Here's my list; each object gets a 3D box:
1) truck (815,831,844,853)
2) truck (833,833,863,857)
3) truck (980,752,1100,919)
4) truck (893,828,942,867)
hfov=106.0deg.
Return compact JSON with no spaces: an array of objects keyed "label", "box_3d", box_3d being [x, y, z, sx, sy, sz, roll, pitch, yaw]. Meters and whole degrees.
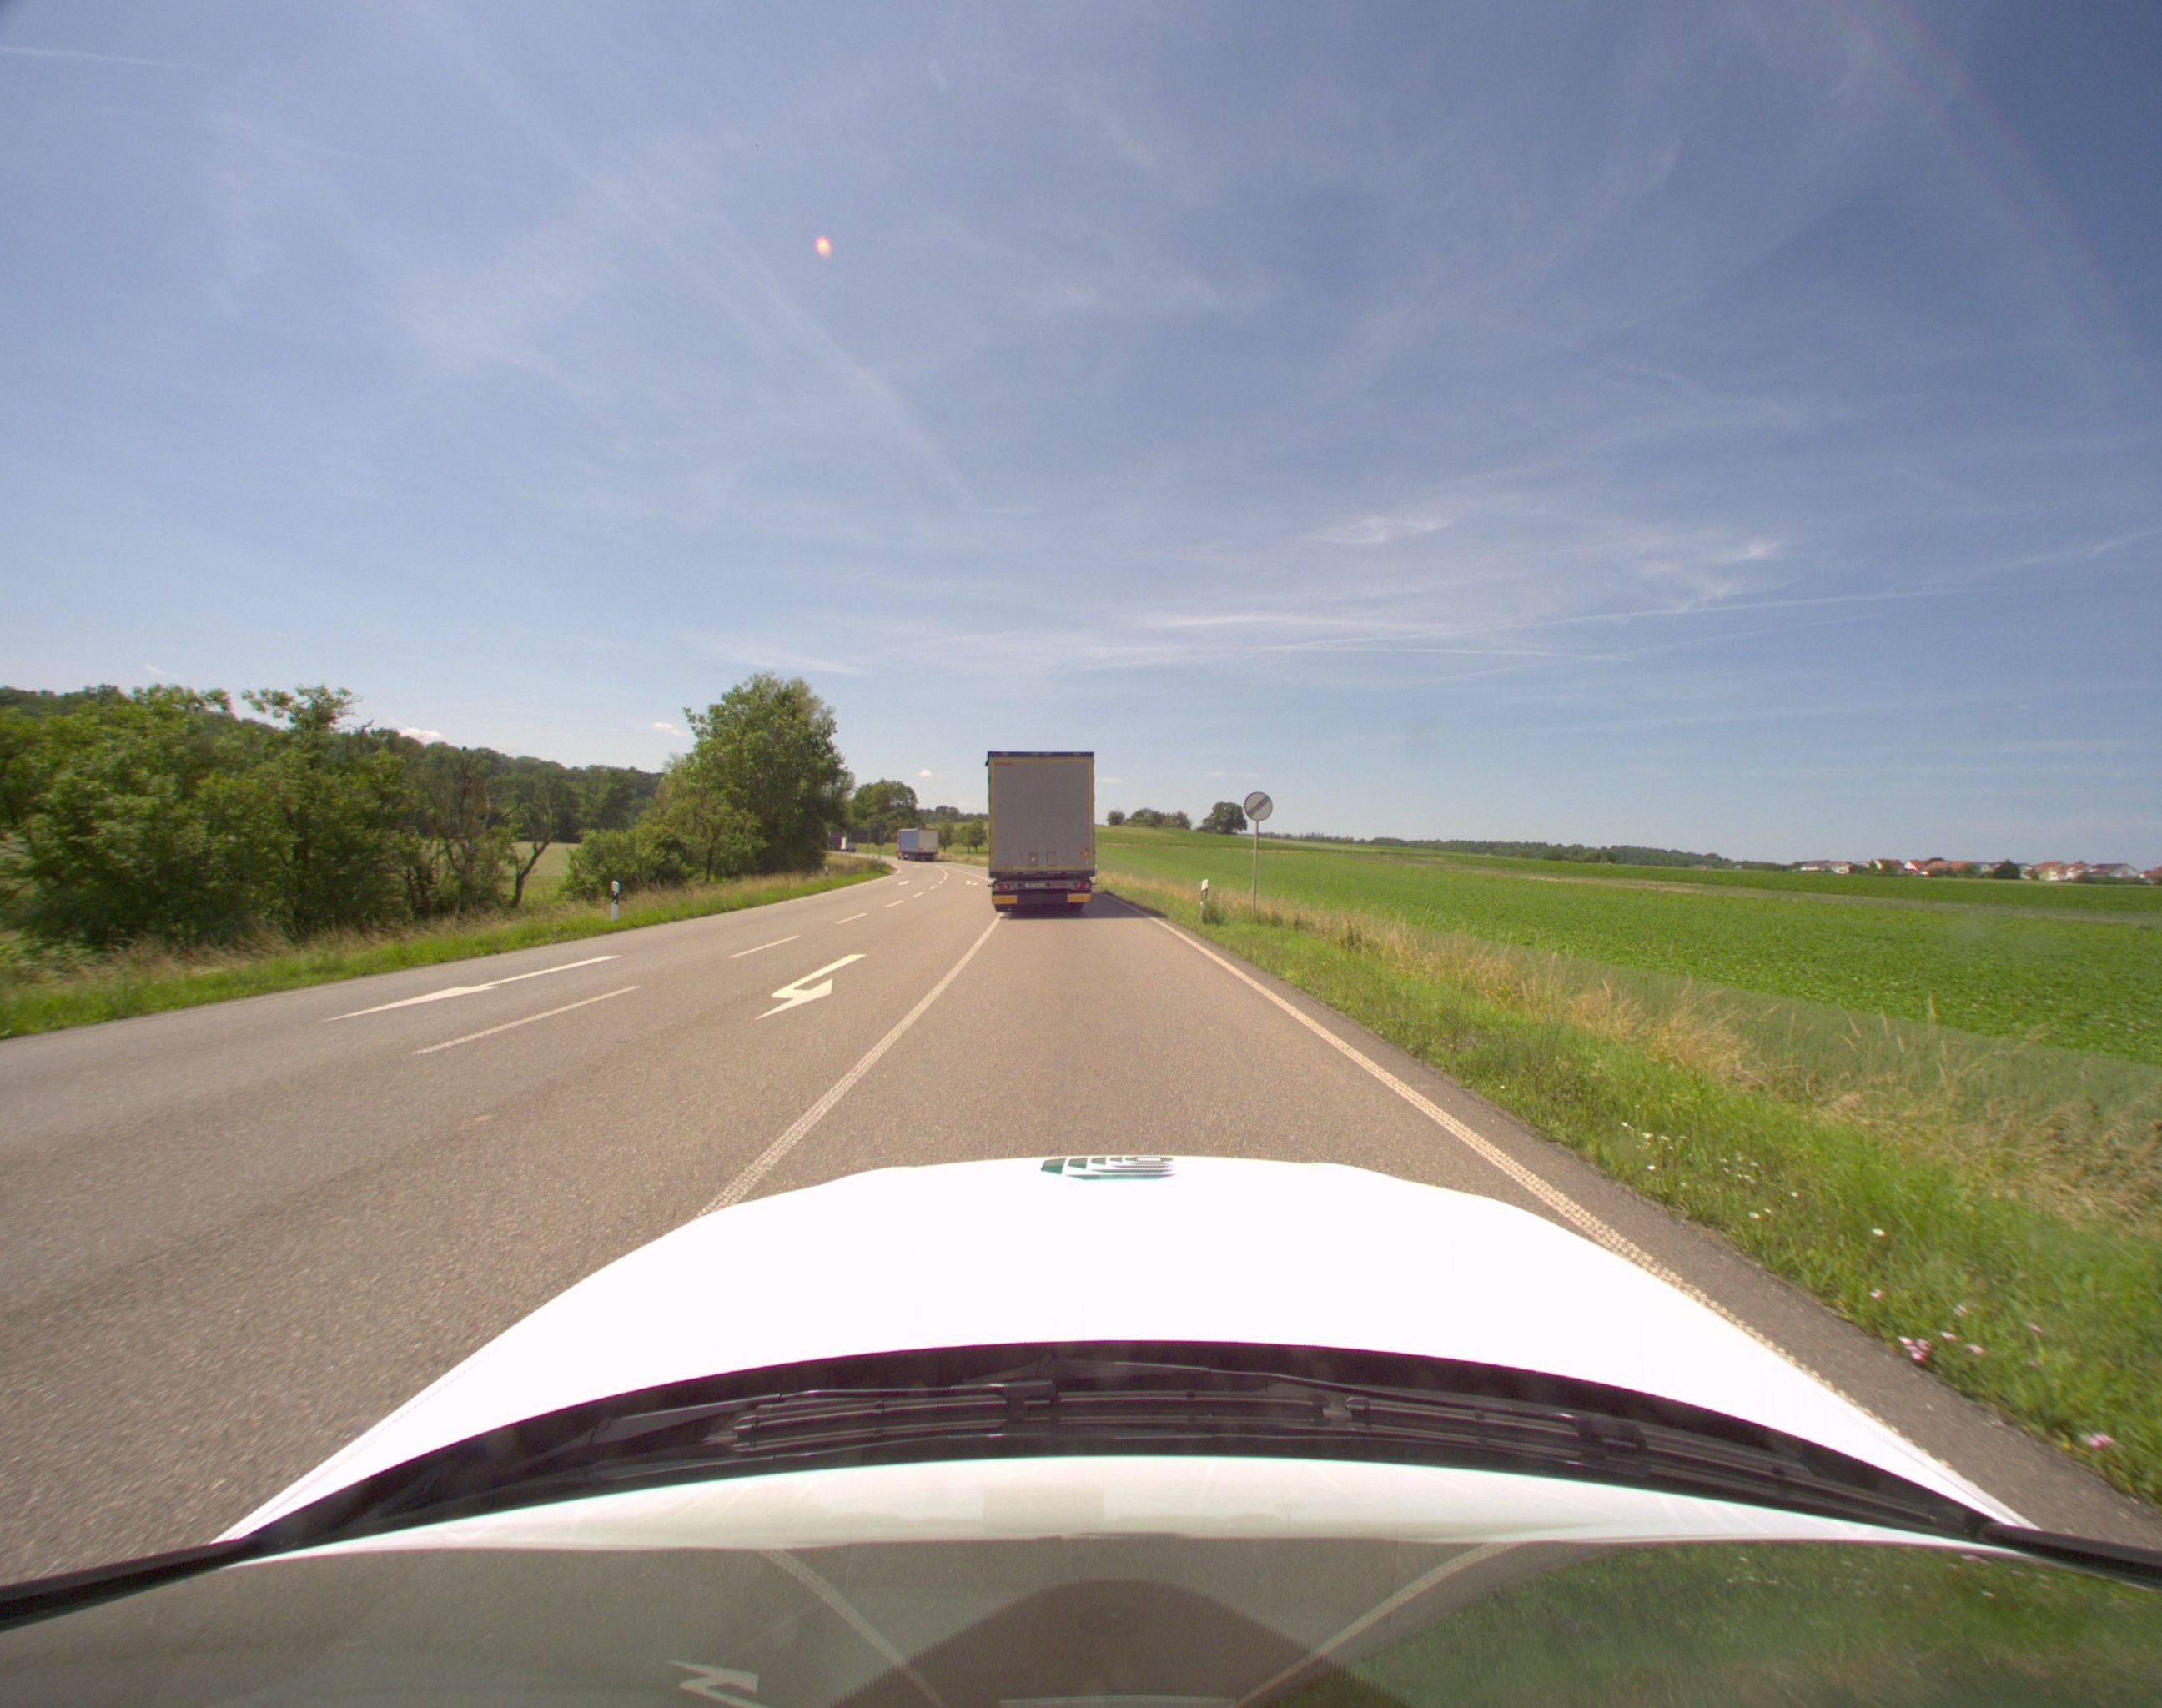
[{"label":"truck","box_3d":[-54.451,-2.517,176.041,3.549,4.241,13.283,3,-2,-28]},{"label":"truck","box_3d":[-46.420,-1.689,162.048,3.654,4.130,12.989,3,-2,-25]},{"label":"truck","box_3d":[-1.471,-0.429,24.149,2.805,3.946,9.569,-1,0,-6]},{"label":"truck","box_3d":[-21.397,-0.771,105.758,2.973,4.584,16.191,2,-1,-23]}]
